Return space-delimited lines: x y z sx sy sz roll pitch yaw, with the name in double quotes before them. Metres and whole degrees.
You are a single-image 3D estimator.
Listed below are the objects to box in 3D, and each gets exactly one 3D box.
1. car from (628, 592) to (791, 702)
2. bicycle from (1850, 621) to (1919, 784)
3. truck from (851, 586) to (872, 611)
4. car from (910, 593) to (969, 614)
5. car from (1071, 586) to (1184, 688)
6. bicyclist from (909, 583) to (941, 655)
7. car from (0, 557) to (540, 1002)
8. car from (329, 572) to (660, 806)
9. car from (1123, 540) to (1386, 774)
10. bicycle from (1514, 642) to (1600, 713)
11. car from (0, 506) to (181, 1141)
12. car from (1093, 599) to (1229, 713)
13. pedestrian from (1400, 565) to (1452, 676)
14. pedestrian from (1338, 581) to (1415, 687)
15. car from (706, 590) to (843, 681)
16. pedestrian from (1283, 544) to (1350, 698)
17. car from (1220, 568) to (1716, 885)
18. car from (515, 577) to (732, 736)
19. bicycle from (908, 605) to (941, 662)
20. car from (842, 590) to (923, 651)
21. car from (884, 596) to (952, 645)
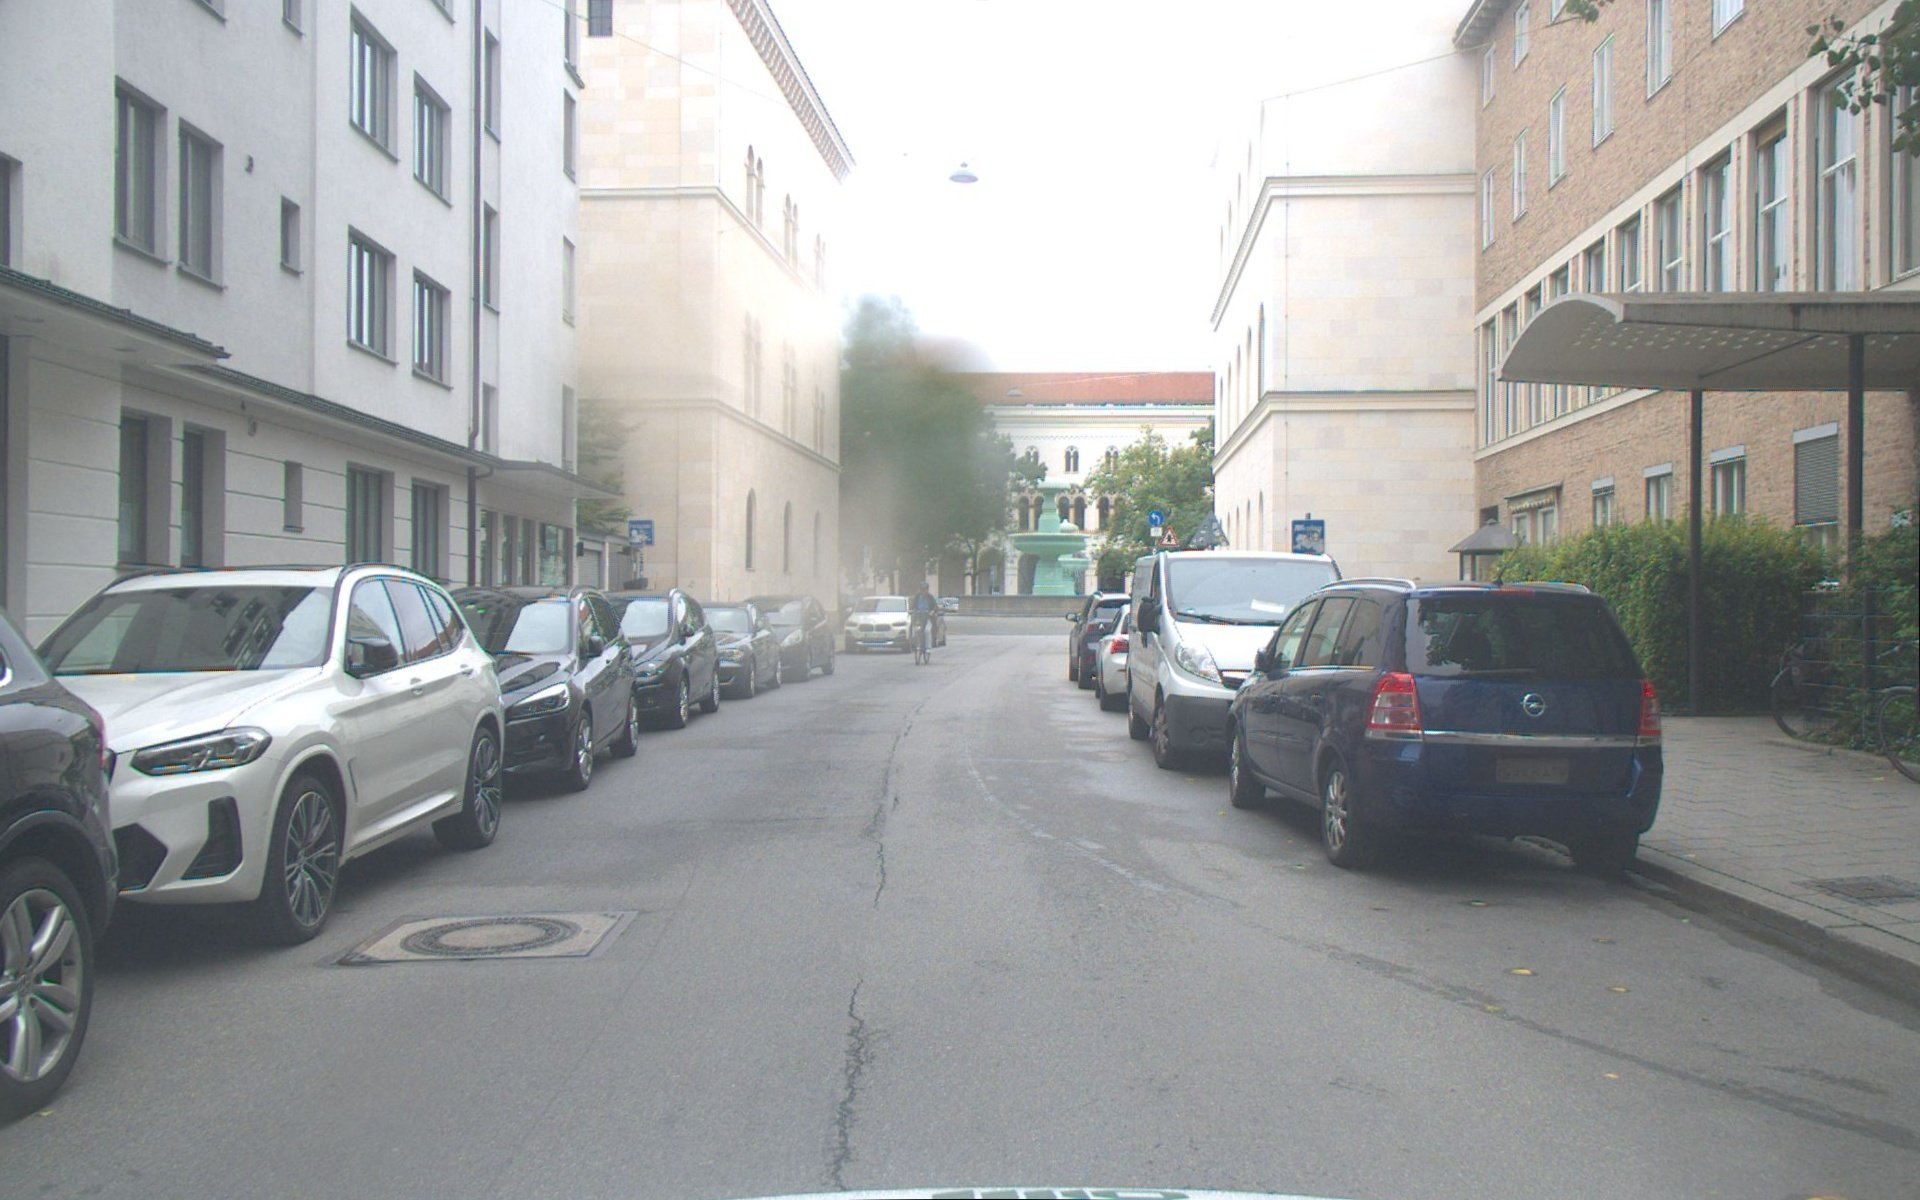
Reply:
"car" -3.796 0.665 25.708 1.714 1.479 4.017 -1 1 3
"bicycle" 6.909 0.713 11.093 0.656 1.092 2.224 0 0 -1
"truck" -10.176 -0.186 170.020 1.955 2.532 3.995 1 1 -6
"car" -1.408 0.254 114.651 3.903 1.400 2.001 0 0 3
"car" 2.843 0.589 28.737 1.711 1.621 3.957 1 0 2
"bicyclist" -0.778 0.421 36.903 0.643 1.578 0.888 0 0 2
"car" -3.676 0.663 8.649 1.834 1.687 4.590 -1 1 -1
"car" -3.869 0.622 14.590 1.835 1.687 4.587 -2 1 -4
"car" 2.709 0.457 16.314 1.843 1.958 4.875 0 0 1
"bicycle" 7.634 0.979 21.189 0.506 0.832 1.432 -1 0 -4
"car" -3.502 0.646 3.256 1.834 1.717 4.519 -1 1 -1
"car" 2.791 0.725 23.670 1.638 1.442 4.203 1 0 3
"pedestrian" 7.115 0.308 25.280 0.575 1.661 0.877 1 0 4
"pedestrian" 6.296 0.502 25.010 0.934 1.574 0.671 0 0 -17
"car" -3.333 0.603 30.465 1.713 1.479 4.018 -1 1 5
"pedestrian" 5.265 0.299 24.457 0.777 2.236 0.813 1 0 -1
"car" 2.961 0.634 10.648 1.771 1.628 4.213 0 0 -2
"car" -3.984 0.596 20.275 1.834 1.687 4.079 -1 1 -1
"bicycle" -0.775 0.727 36.815 0.635 1.218 1.951 -1 0 2
"car" -2.090 0.566 45.737 1.741 1.561 4.213 -1 -1 4
"car" -1.273 0.640 52.089 1.662 1.417 4.214 -1 -1 5
